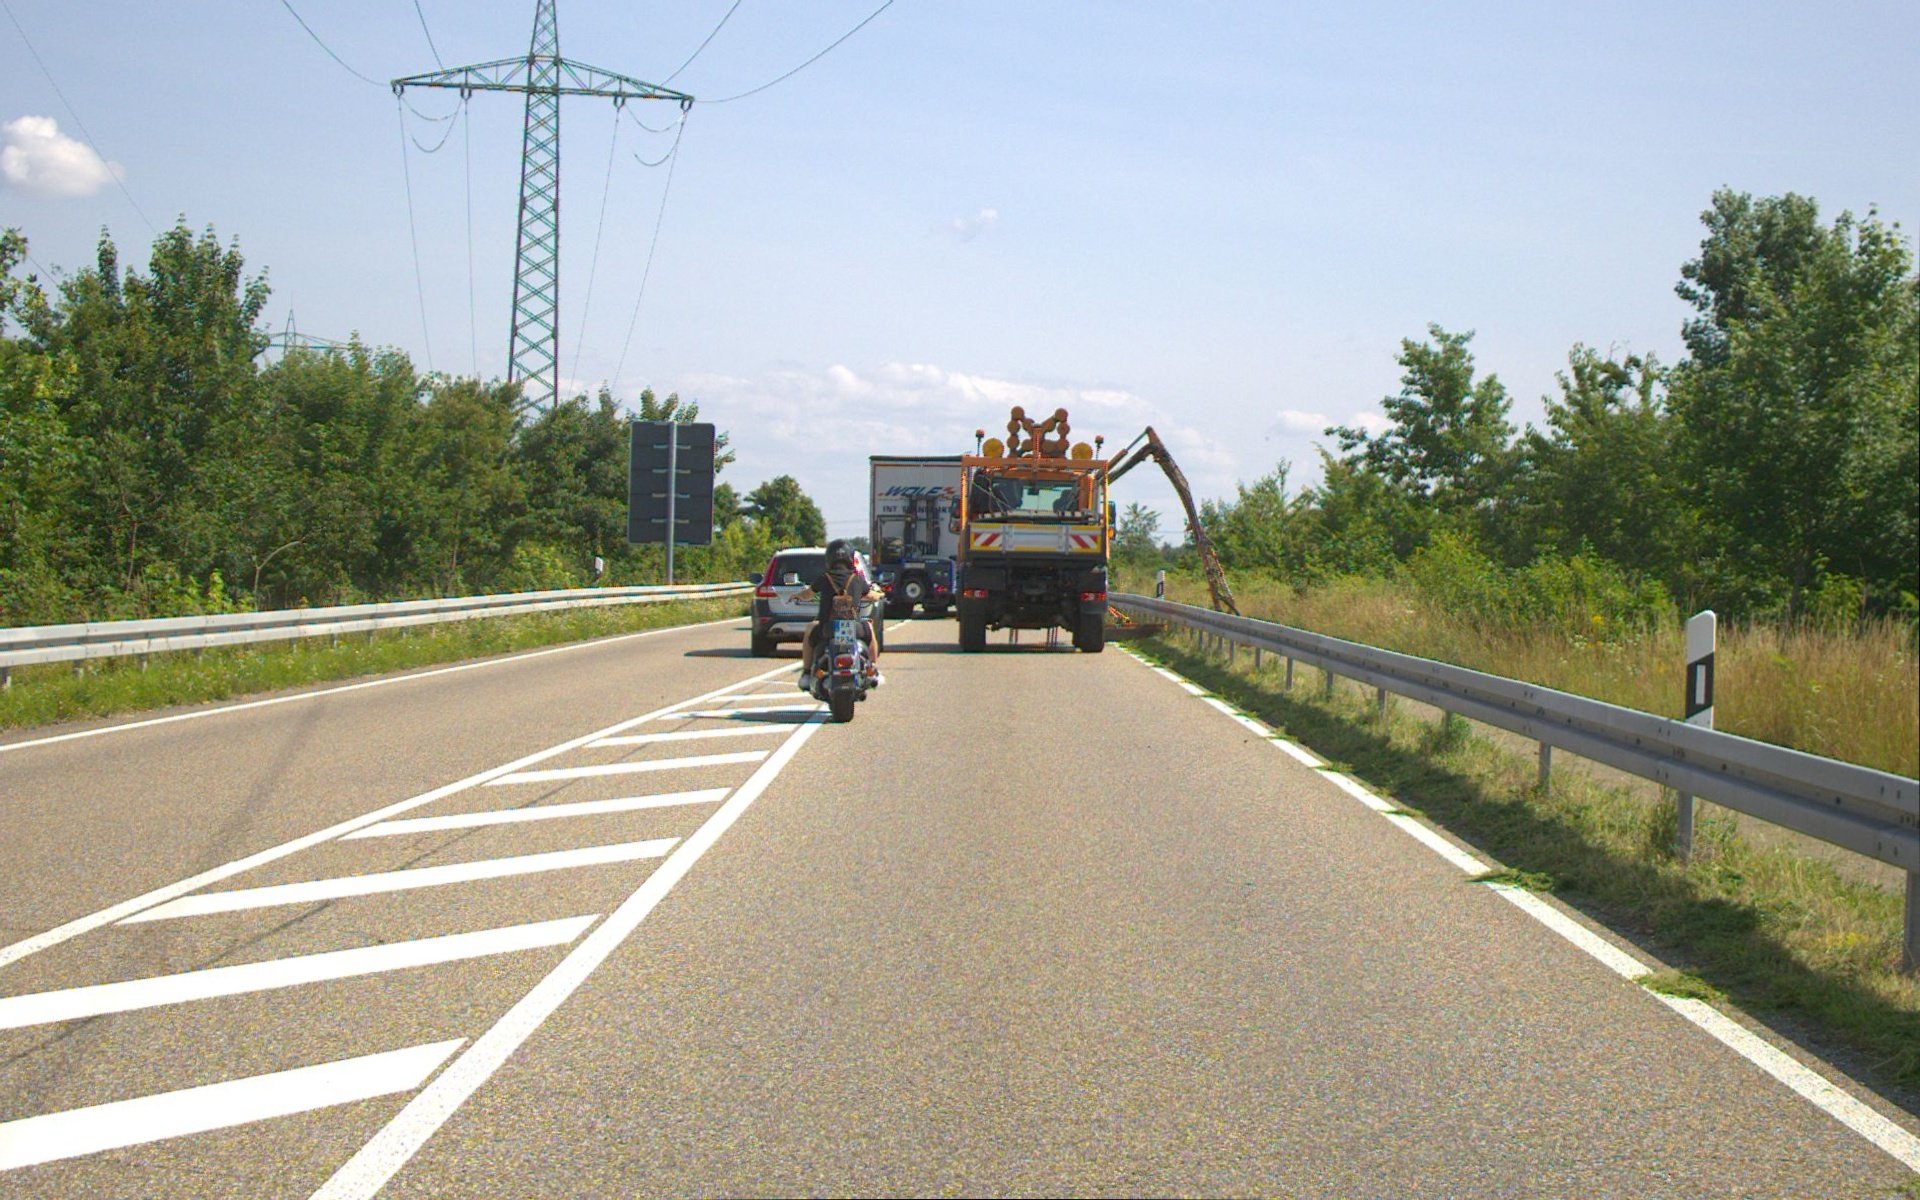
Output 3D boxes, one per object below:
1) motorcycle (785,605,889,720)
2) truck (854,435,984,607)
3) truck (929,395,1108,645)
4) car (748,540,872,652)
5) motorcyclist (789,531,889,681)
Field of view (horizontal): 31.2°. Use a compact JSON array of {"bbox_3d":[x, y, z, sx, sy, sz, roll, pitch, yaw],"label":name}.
[{"bbox_3d":[-1.056,0.531,30.060,0.859,0.912,2.228,1,1,-1],"label":"motorcycle"},{"bbox_3d":[-0.951,-2.080,91.945,2.968,4.172,14.822,1,1,1],"label":"truck"},{"bbox_3d":[0.931,-1.261,54.975,2.614,3.698,6.777,1,1,1],"label":"truck"},{"bbox_3d":[-2.143,-0.088,49.609,1.701,1.531,3.499,1,1,-2],"label":"car"},{"bbox_3d":[-1.055,0.045,30.154,0.837,1.276,0.919,1,1,-1],"label":"motorcyclist"}]
